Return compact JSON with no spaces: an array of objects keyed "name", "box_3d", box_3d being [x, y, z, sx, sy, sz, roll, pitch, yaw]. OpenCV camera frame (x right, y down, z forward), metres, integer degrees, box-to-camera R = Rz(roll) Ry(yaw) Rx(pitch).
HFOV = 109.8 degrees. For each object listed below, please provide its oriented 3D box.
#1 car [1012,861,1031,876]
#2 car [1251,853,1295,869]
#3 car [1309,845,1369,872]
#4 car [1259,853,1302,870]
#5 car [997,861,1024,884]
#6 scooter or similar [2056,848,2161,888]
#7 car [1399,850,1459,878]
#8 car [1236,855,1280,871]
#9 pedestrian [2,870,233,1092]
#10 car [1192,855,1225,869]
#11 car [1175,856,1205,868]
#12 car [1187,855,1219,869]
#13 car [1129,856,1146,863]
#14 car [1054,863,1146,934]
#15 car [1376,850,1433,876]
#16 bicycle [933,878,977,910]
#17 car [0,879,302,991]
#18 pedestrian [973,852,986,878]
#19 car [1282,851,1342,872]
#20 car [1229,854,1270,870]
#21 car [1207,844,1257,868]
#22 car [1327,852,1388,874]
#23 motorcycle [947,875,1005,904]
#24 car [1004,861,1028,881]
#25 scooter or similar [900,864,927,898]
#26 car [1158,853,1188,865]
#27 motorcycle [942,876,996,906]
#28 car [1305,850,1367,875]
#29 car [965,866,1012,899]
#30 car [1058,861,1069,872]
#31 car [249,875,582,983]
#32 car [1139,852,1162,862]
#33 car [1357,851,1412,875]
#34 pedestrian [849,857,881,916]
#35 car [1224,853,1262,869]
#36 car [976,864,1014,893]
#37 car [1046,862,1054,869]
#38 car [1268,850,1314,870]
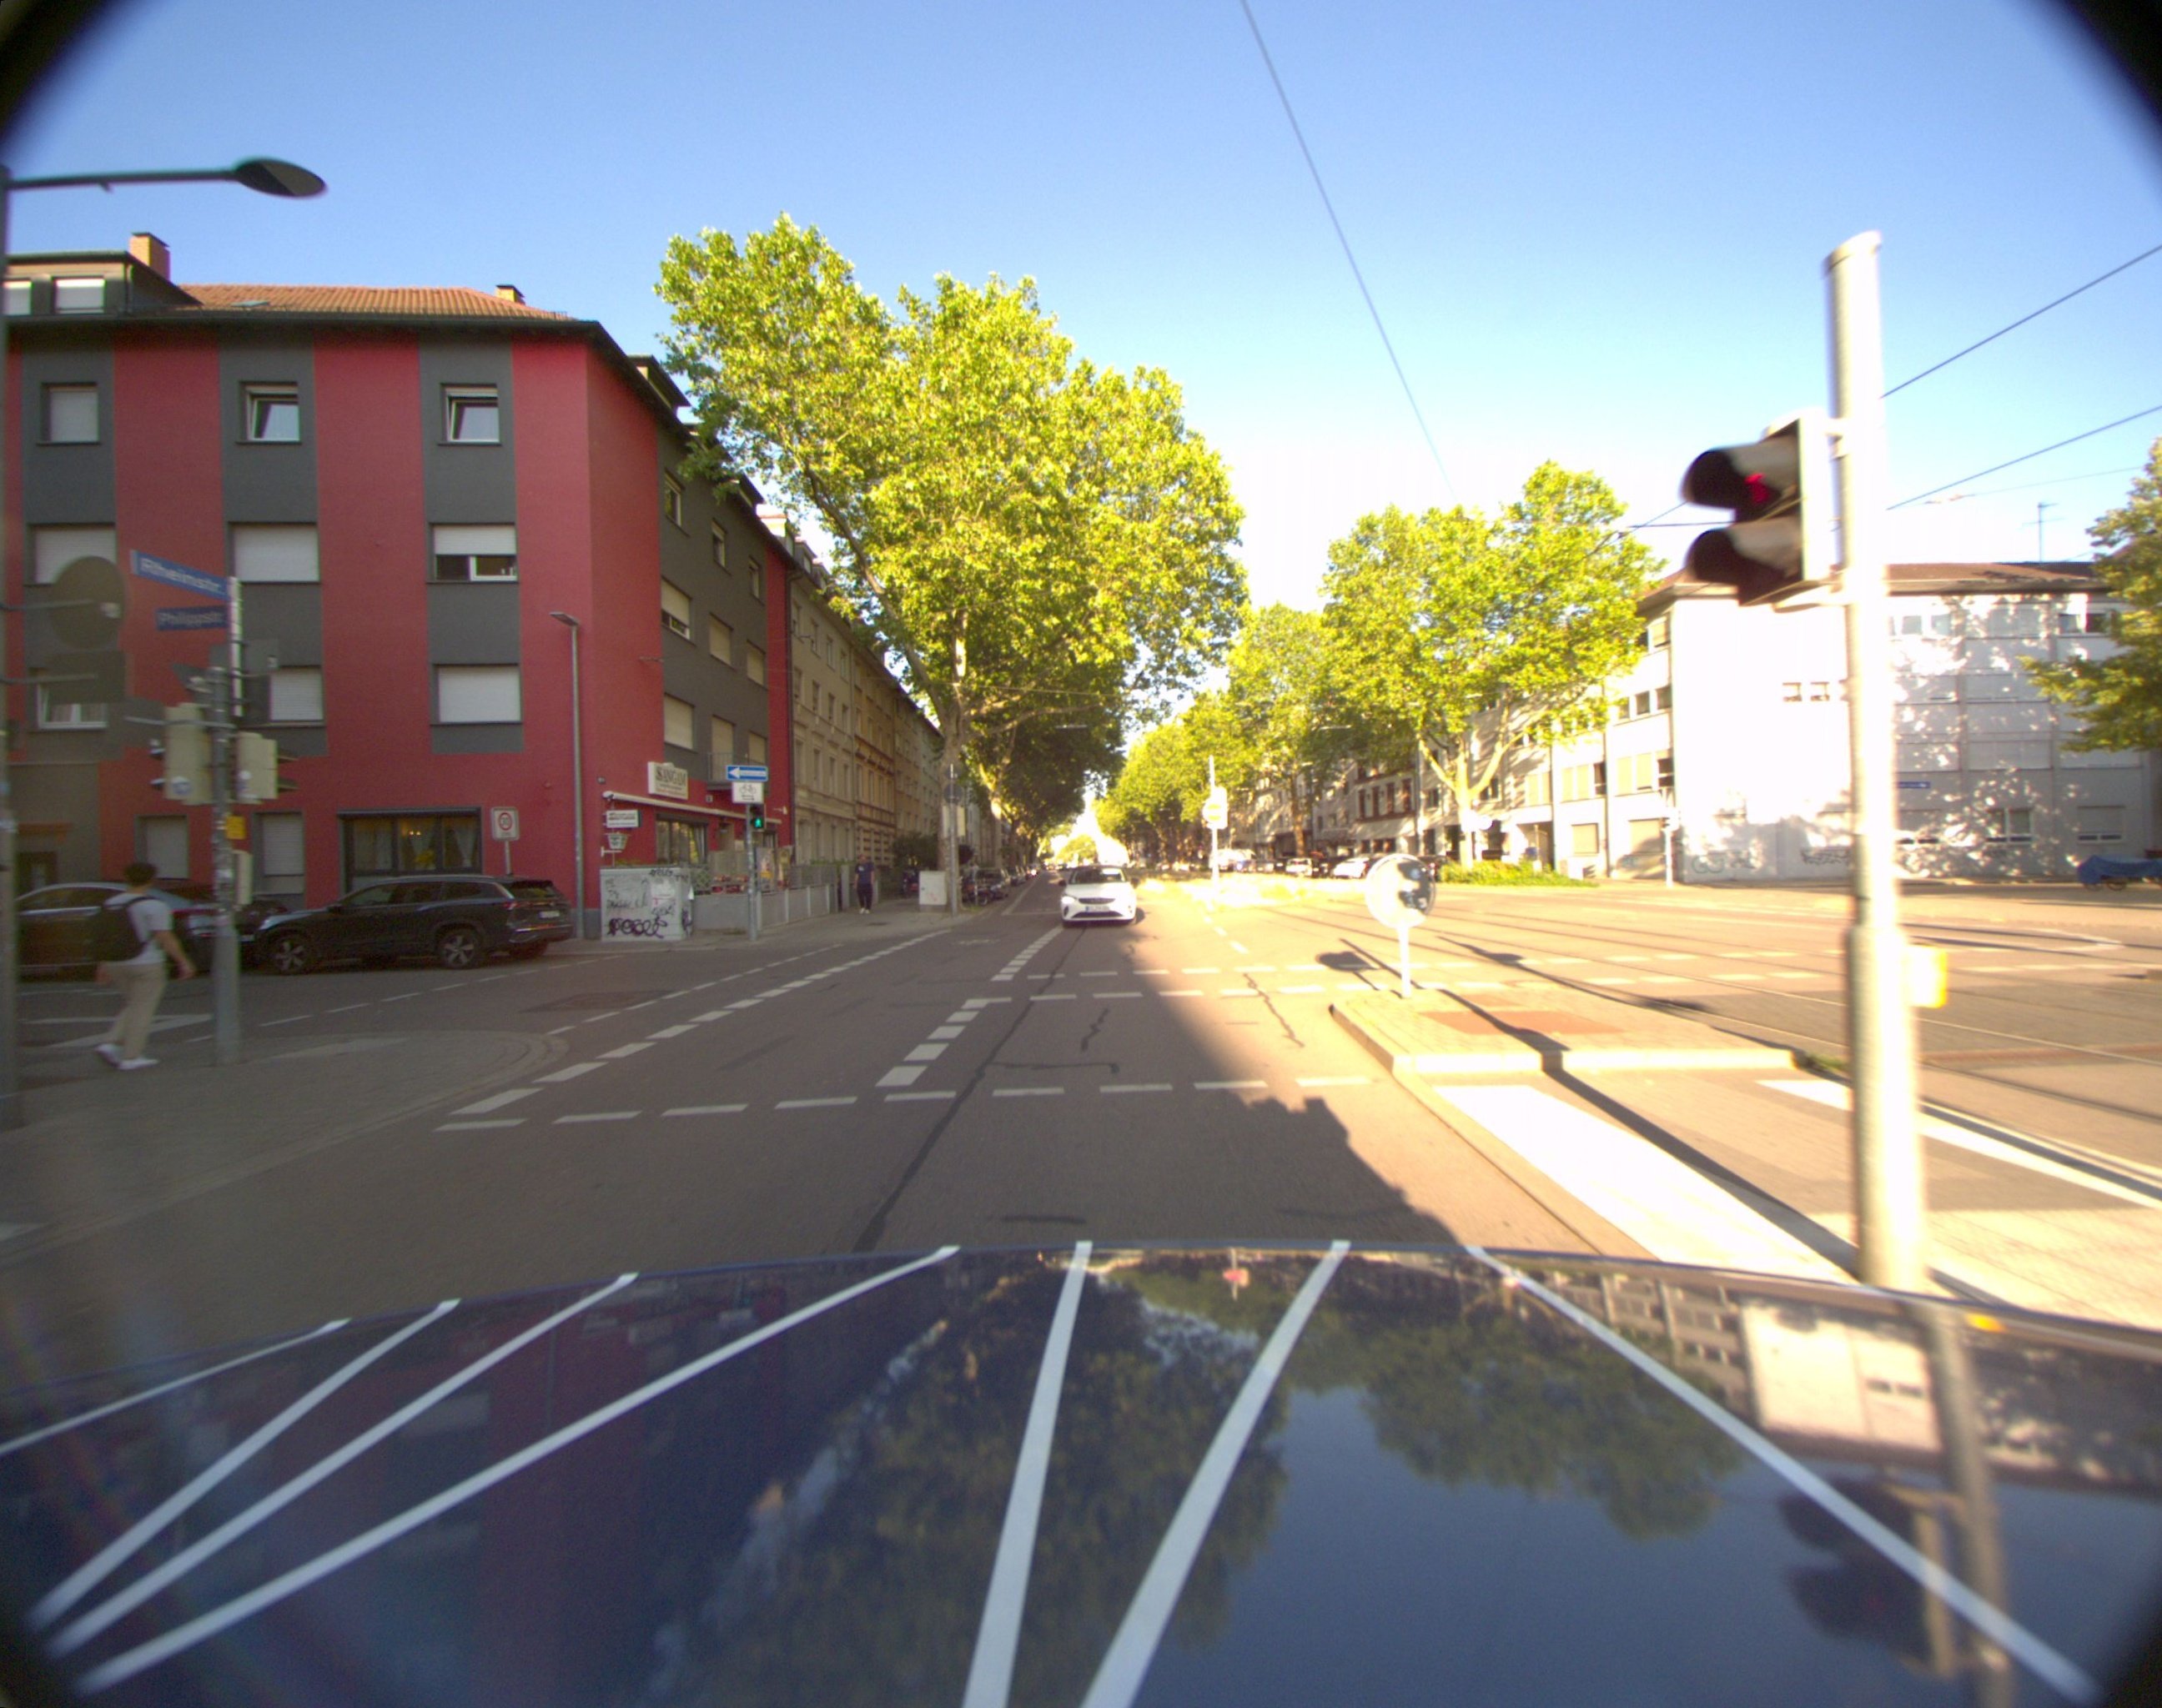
[{"name":"car","box_3d":[-6.091,1.477,77.829,1.803,1.493,4.369,1,0,-3]},{"name":"car","box_3d":[18.722,0.634,74.111,4.265,1.449,1.902,-1,0,-38]},{"name":"car","box_3d":[19.781,0.319,58.231,4.260,1.932,1.514,-1,0,-17]},{"name":"car","box_3d":[18.607,0.675,70.828,4.265,1.451,1.598,-1,0,-38]},{"name":"car","box_3d":[-5.284,1.364,57.095,1.803,1.599,4.369,1,0,-3]},{"name":"scooter or similar","box_3d":[31.530,0.403,22.904,1.096,1.119,2.447,-2,0,-1]},{"name":"car","box_3d":[19.519,0.545,42.561,3.979,1.423,1.767,-1,0,-45]},{"name":"car","box_3d":[18.248,0.946,78.293,4.004,1.509,1.996,-1,0,-22]},{"name":"pedestrian","box_3d":[-8.298,1.057,6.604,0.745,1.768,0.895,-1,-4,-2]},{"name":"car","box_3d":[17.304,1.110,102.875,4.006,1.805,1.996,-1,0,-29]},{"name":"car","box_3d":[16.449,1.189,114.344,4.006,1.696,1.996,-1,0,-29]},{"name":"car","box_3d":[17.008,1.137,106.138,4.006,1.805,1.996,-1,0,-29]},{"name":"car","box_3d":[13.889,1.331,186.749,3.994,1.802,1.874,-1,0,8]},{"name":"car","box_3d":[0.339,0.969,18.072,1.865,1.394,3.931,-3,0,-3]},{"name":"car","box_3d":[19.537,0.537,45.774,3.979,1.423,1.738,-1,-1,-45]},{"name":"bicycle","box_3d":[-4.420,1.388,26.791,0.619,1.104,1.804,0,-2,25]},{"name":"car","box_3d":[-17.081,1.383,13.440,4.614,1.730,1.772,-1,0,-2]},{"name":"pedestrian","box_3d":[-6.317,0.694,47.326,0.728,1.571,0.701,-1,1,-2]},{"name":"car","box_3d":[18.176,0.586,59.767,4.260,1.548,1.641,-1,0,-17]},{"name":"car","box_3d":[18.044,0.865,81.415,4.006,1.608,1.996,-1,0,-29]},{"name":"car","box_3d":[18.088,0.224,90.728,5.620,2.684,2.176,-1,0,-26]},{"name":"car","box_3d":[18.765,0.609,51.470,4.266,1.369,2.147,-1,0,-42]},{"name":"motorcycle","box_3d":[-4.212,1.422,30.616,2.217,1.104,0.663,1,-2,-29]},{"name":"car","box_3d":[-5.483,1.447,64.517,1.803,1.599,4.369,1,0,-3]},{"name":"scooter or similar","box_3d":[-7.489,1.184,34.120,0.666,1.461,2.544,-1,0,-1]},{"name":"car","box_3d":[14.143,0.723,116.994,4.235,1.696,1.999,-1,0,-6]},{"name":"motorcycle","box_3d":[-4.170,1.378,28.484,1.895,1.104,0.783,2,-2,-44]},{"name":"car","box_3d":[18.438,0.607,54.858,4.265,1.674,2.147,-1,0,-37]},{"name":"car","box_3d":[-4.305,1.313,35.911,1.803,1.393,4.369,1,0,-1]},{"name":"car","box_3d":[-3.366,2.446,146.914,1.999,2.002,3.999,-3,0,-2]},{"name":"car","box_3d":[-11.863,1.292,13.789,4.353,1.676,1.772,-1,0,-2]},{"name":"car","box_3d":[14.989,0.635,163.020,4.952,2.200,2.096,-1,0,-44]},{"name":"car","box_3d":[19.662,0.576,49.099,3.979,1.495,1.827,-1,0,-45]},{"name":"pedestrian","box_3d":[-6.401,0.951,22.563,0.728,1.701,0.816,1,1,-2]},{"name":"car","box_3d":[18.769,0.813,88.095,4.006,1.805,1.996,-1,0,-29]},{"name":"car","box_3d":[-4.712,1.323,42.066,1.803,1.446,4.511,1,0,-4]},{"name":"car","box_3d":[-9.019,3.312,221.394,1.998,1.850,4.001,-3,0,3]},{"name":"car","box_3d":[18.592,0.527,67.144,4.266,1.604,1.902,-2,0,-41]}]
